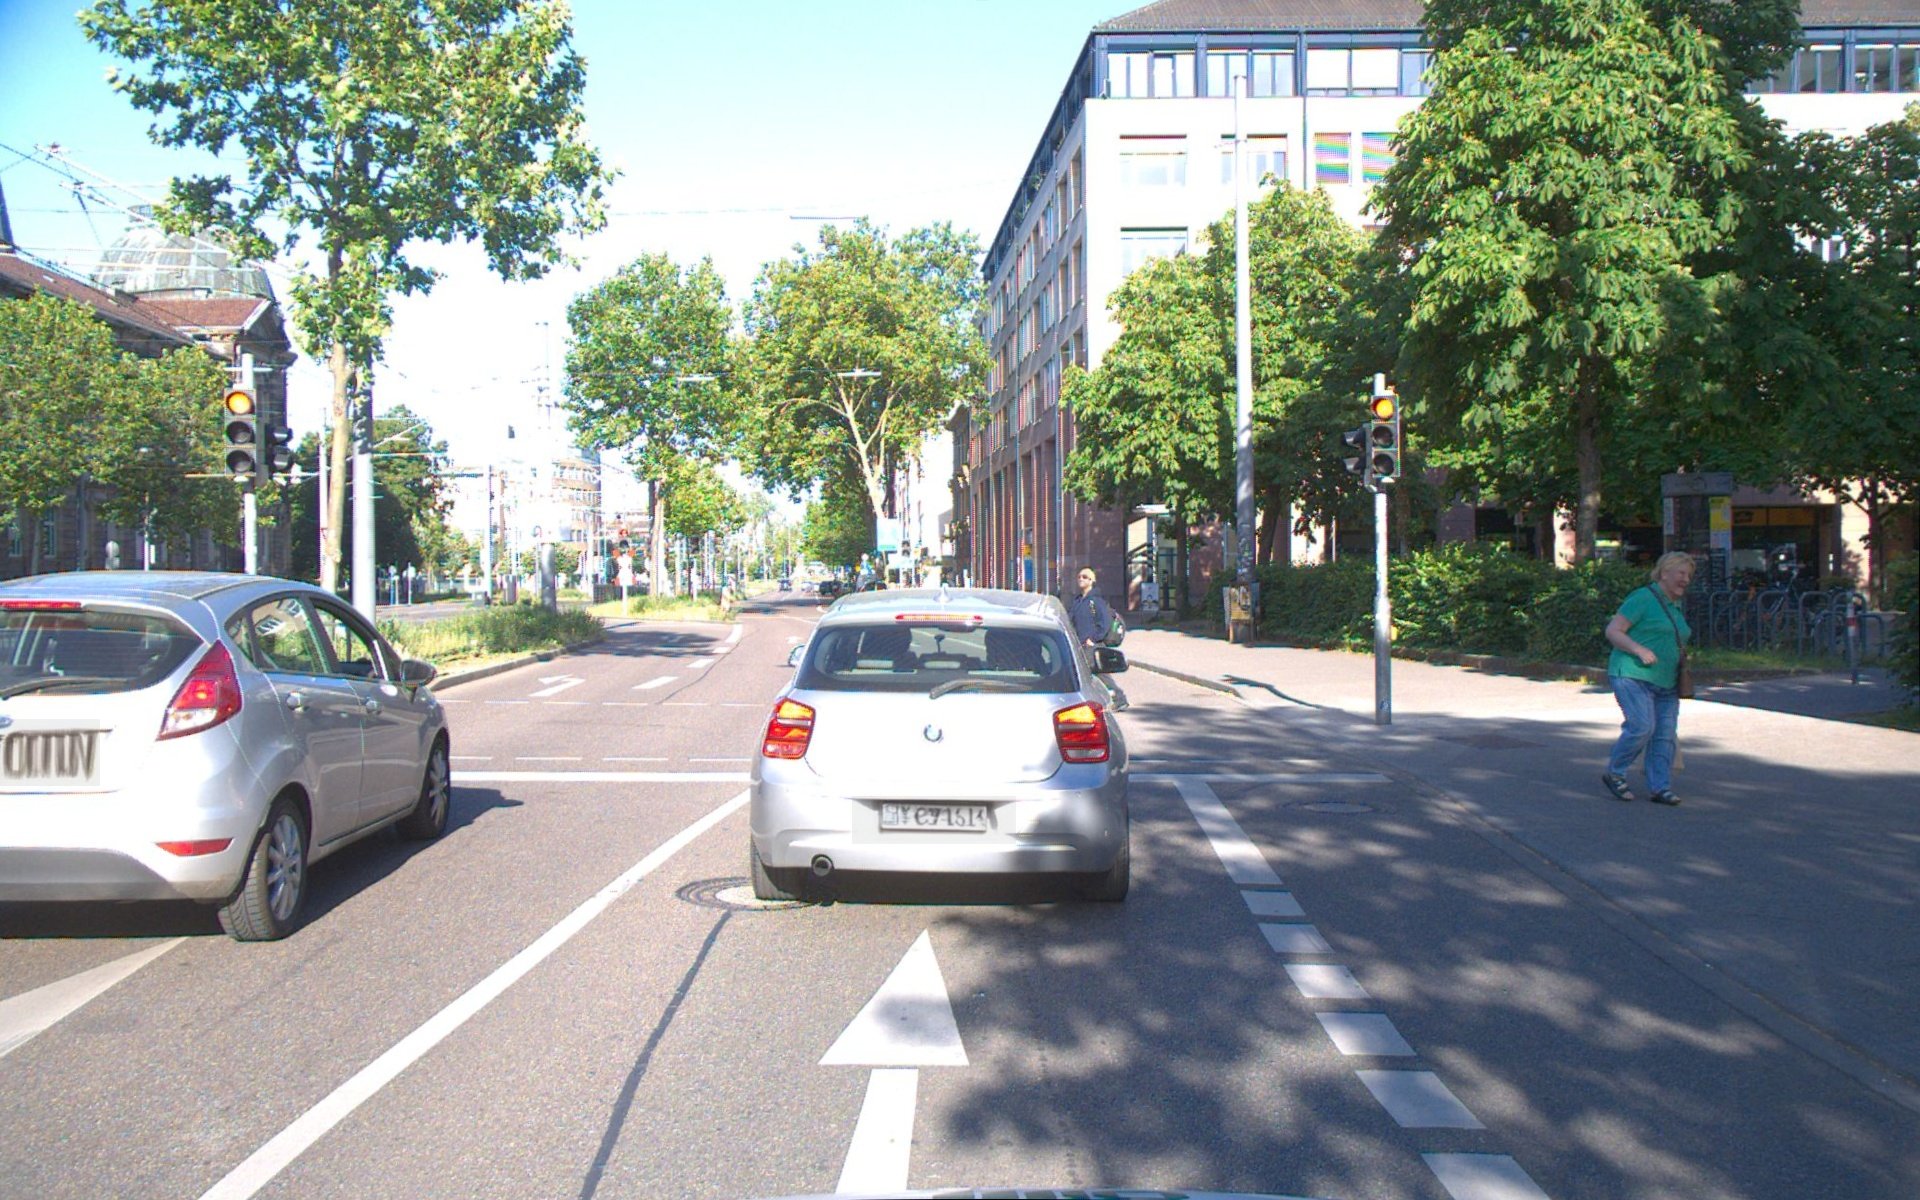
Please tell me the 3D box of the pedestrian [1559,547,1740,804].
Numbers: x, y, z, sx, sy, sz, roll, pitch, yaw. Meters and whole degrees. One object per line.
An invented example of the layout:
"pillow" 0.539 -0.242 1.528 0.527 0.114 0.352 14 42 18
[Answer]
"pedestrian" 4.530 0.471 10.882 0.731 1.603 0.821 -2 0 -38

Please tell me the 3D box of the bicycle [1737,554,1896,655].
"bicycle" 12.209 0.060 23.604 1.956 1.337 0.574 -2 1 -2

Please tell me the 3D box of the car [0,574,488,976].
"car" -3.461 0.612 7.710 1.627 1.434 3.630 0 0 -3

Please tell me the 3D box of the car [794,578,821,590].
"car" -19.726 -2.091 214.033 1.973 1.512 3.959 -1 1 -30

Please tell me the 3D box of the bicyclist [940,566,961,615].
"bicyclist" -0.321 -0.321 57.768 0.644 1.686 0.765 -1 1 4

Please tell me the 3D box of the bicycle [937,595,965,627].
"bicycle" -0.315 0.365 57.790 0.814 1.059 1.875 -1 1 4

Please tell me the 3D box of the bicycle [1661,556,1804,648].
"bicycle" 12.112 0.028 25.969 1.956 1.337 0.574 -2 1 -2

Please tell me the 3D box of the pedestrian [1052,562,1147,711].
"pedestrian" 1.575 0.400 18.734 0.924 1.657 0.626 0 0 -14

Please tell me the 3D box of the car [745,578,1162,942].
"car" 0.057 0.628 8.710 1.694 1.414 3.842 1 2 3

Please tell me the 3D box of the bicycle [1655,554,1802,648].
"bicycle" 11.751 0.015 25.322 1.956 1.337 0.574 -2 1 -2
